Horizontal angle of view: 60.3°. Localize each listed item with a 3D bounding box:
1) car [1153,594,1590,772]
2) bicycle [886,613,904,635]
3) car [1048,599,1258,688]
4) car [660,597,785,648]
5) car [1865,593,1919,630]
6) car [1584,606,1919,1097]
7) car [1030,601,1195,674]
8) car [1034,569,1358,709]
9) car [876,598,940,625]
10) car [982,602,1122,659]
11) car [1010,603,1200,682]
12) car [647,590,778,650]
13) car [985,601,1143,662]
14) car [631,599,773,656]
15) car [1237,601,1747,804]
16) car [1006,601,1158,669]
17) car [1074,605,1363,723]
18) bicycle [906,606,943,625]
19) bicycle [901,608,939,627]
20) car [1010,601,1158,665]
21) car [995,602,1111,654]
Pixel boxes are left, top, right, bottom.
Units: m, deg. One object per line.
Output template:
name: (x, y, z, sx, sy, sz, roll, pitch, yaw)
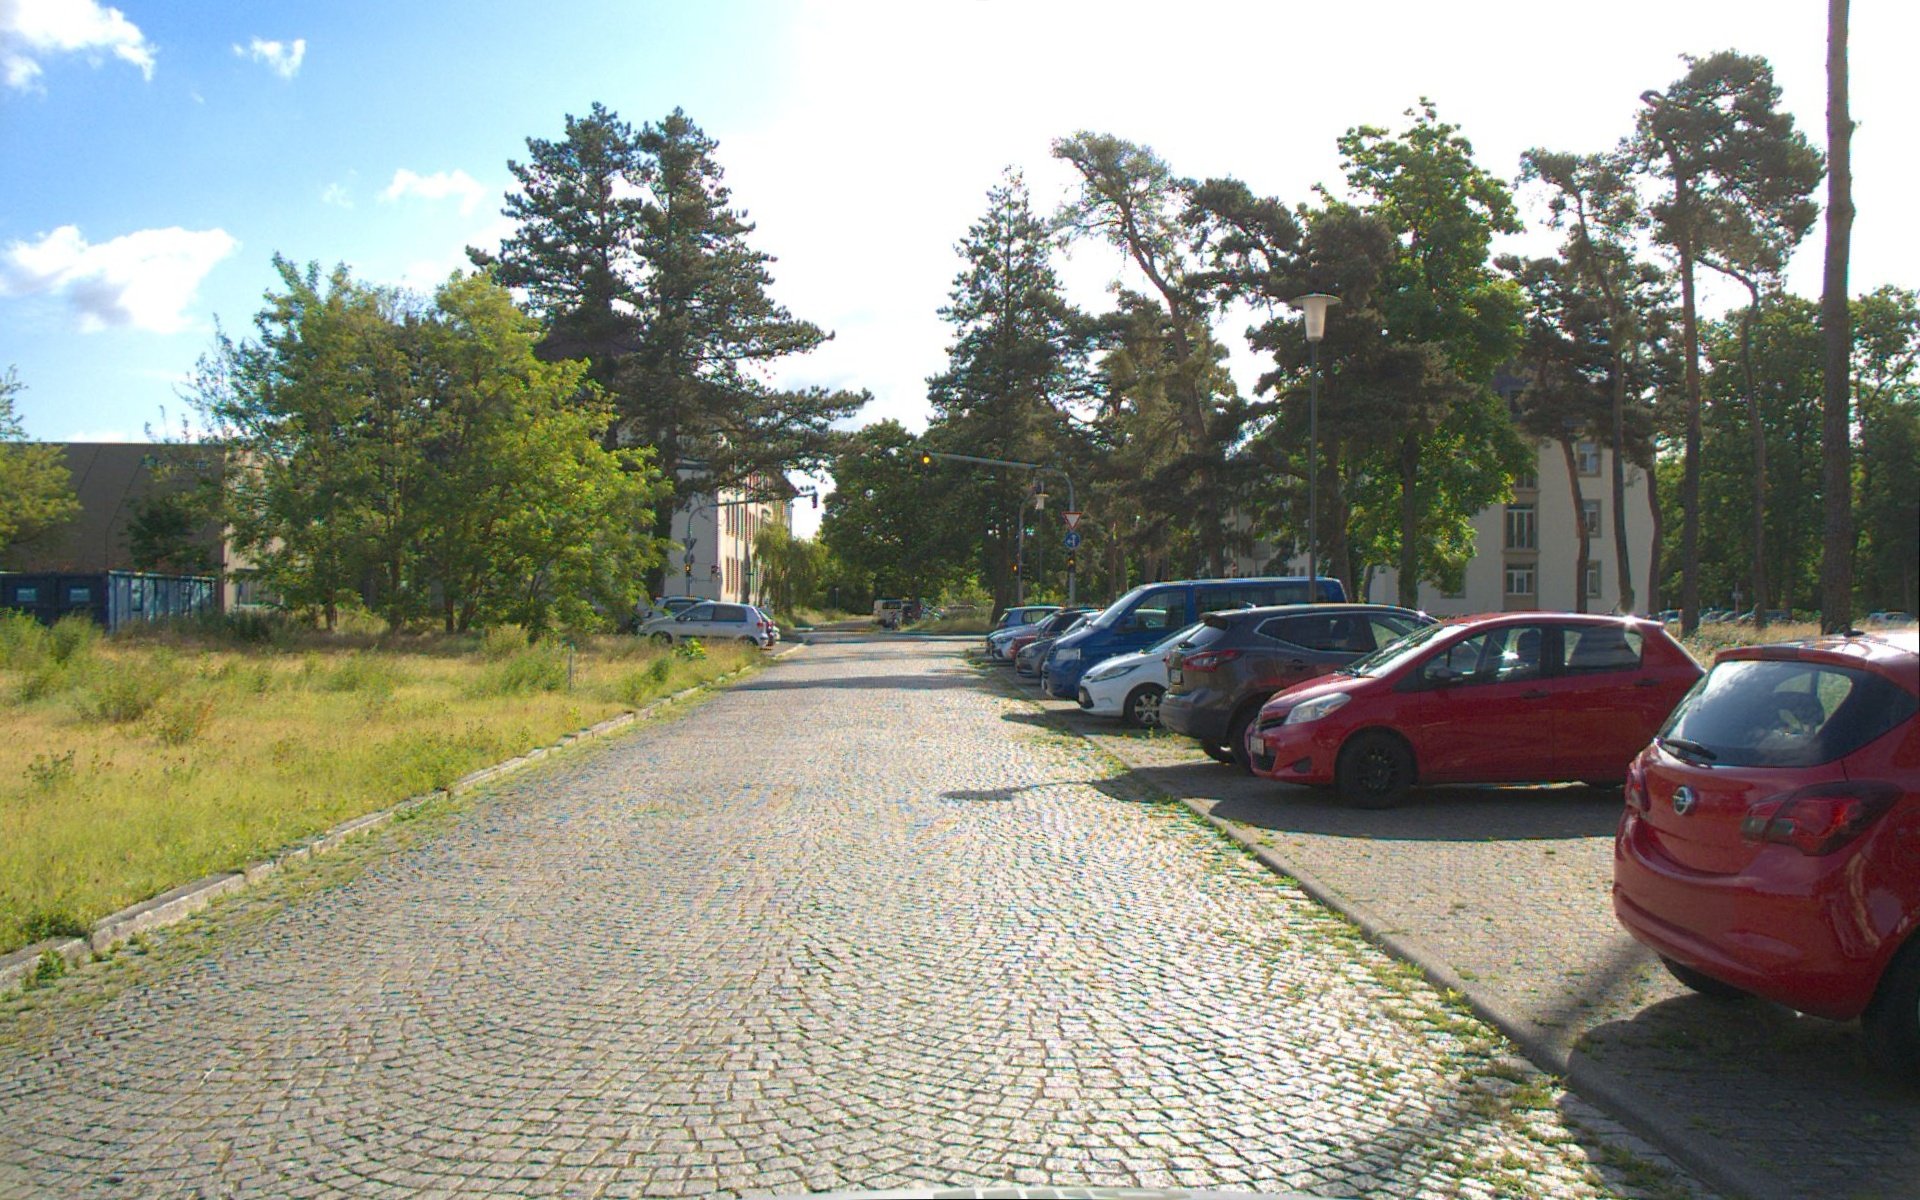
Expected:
car: (3.970, 0.774, 16.350, 3.858, 1.650, 1.770, 0, 0, -4)
bicycle: (-3.710, 1.382, 94.298, 0.789, 1.190, 2.176, -1, 0, -8)
car: (3.525, 0.788, 30.613, 3.620, 1.491, 1.645, -2, 0, -2)
car: (-7.948, 0.743, 55.568, 3.908, 1.478, 1.999, 3, 0, -3)
car: (53.598, 0.637, 93.452, 3.907, 2.049, 1.999, 0, 0, -3)
car: (4.491, 0.773, 6.099, 3.751, 1.504, 1.644, -1, 0, -3)
car: (3.331, 0.812, 36.414, 3.409, 1.556, 1.644, 0, 0, -4)
car: (3.550, 0.578, 25.435, 4.586, 2.049, 2.081, 0, 0, -6)
car: (-3.606, 0.789, 115.251, 4.391, 1.758, 1.999, 1, 0, -3)
car: (2.542, 0.843, 46.386, 3.760, 1.556, 1.644, 0, 0, -4)
car: (2.897, 0.838, 33.473, 3.602, 1.493, 1.644, -1, 0, -4)
car: (-7.915, 0.637, 53.167, 3.908, 1.629, 1.999, 4, 0, -3)
car: (2.709, 0.817, 43.621, 3.956, 1.556, 1.643, 0, 0, -6)
car: (-7.415, 0.777, 47.797, 3.909, 1.628, 1.998, 0, 0, -5)
car: (4.298, 0.792, 13.688, 3.688, 1.557, 1.644, 0, 0, -4)
car: (2.845, 0.812, 39.085, 3.409, 1.556, 1.644, 0, 0, -4)
car: (3.498, 0.848, 22.751, 3.646, 1.514, 1.644, -1, 0, -5)
bicycle: (-2.132, 0.928, 99.008, 2.135, 1.119, 0.804, 1, 0, -12)
bicycle: (-2.382, 1.020, 97.824, 2.135, 1.119, 0.804, 1, 0, -12)
car: (3.077, 0.815, 41.558, 3.531, 1.556, 1.644, 0, 0, -4)
car: (2.728, 0.823, 49.037, 3.277, 1.509, 1.644, 0, 0, -4)
